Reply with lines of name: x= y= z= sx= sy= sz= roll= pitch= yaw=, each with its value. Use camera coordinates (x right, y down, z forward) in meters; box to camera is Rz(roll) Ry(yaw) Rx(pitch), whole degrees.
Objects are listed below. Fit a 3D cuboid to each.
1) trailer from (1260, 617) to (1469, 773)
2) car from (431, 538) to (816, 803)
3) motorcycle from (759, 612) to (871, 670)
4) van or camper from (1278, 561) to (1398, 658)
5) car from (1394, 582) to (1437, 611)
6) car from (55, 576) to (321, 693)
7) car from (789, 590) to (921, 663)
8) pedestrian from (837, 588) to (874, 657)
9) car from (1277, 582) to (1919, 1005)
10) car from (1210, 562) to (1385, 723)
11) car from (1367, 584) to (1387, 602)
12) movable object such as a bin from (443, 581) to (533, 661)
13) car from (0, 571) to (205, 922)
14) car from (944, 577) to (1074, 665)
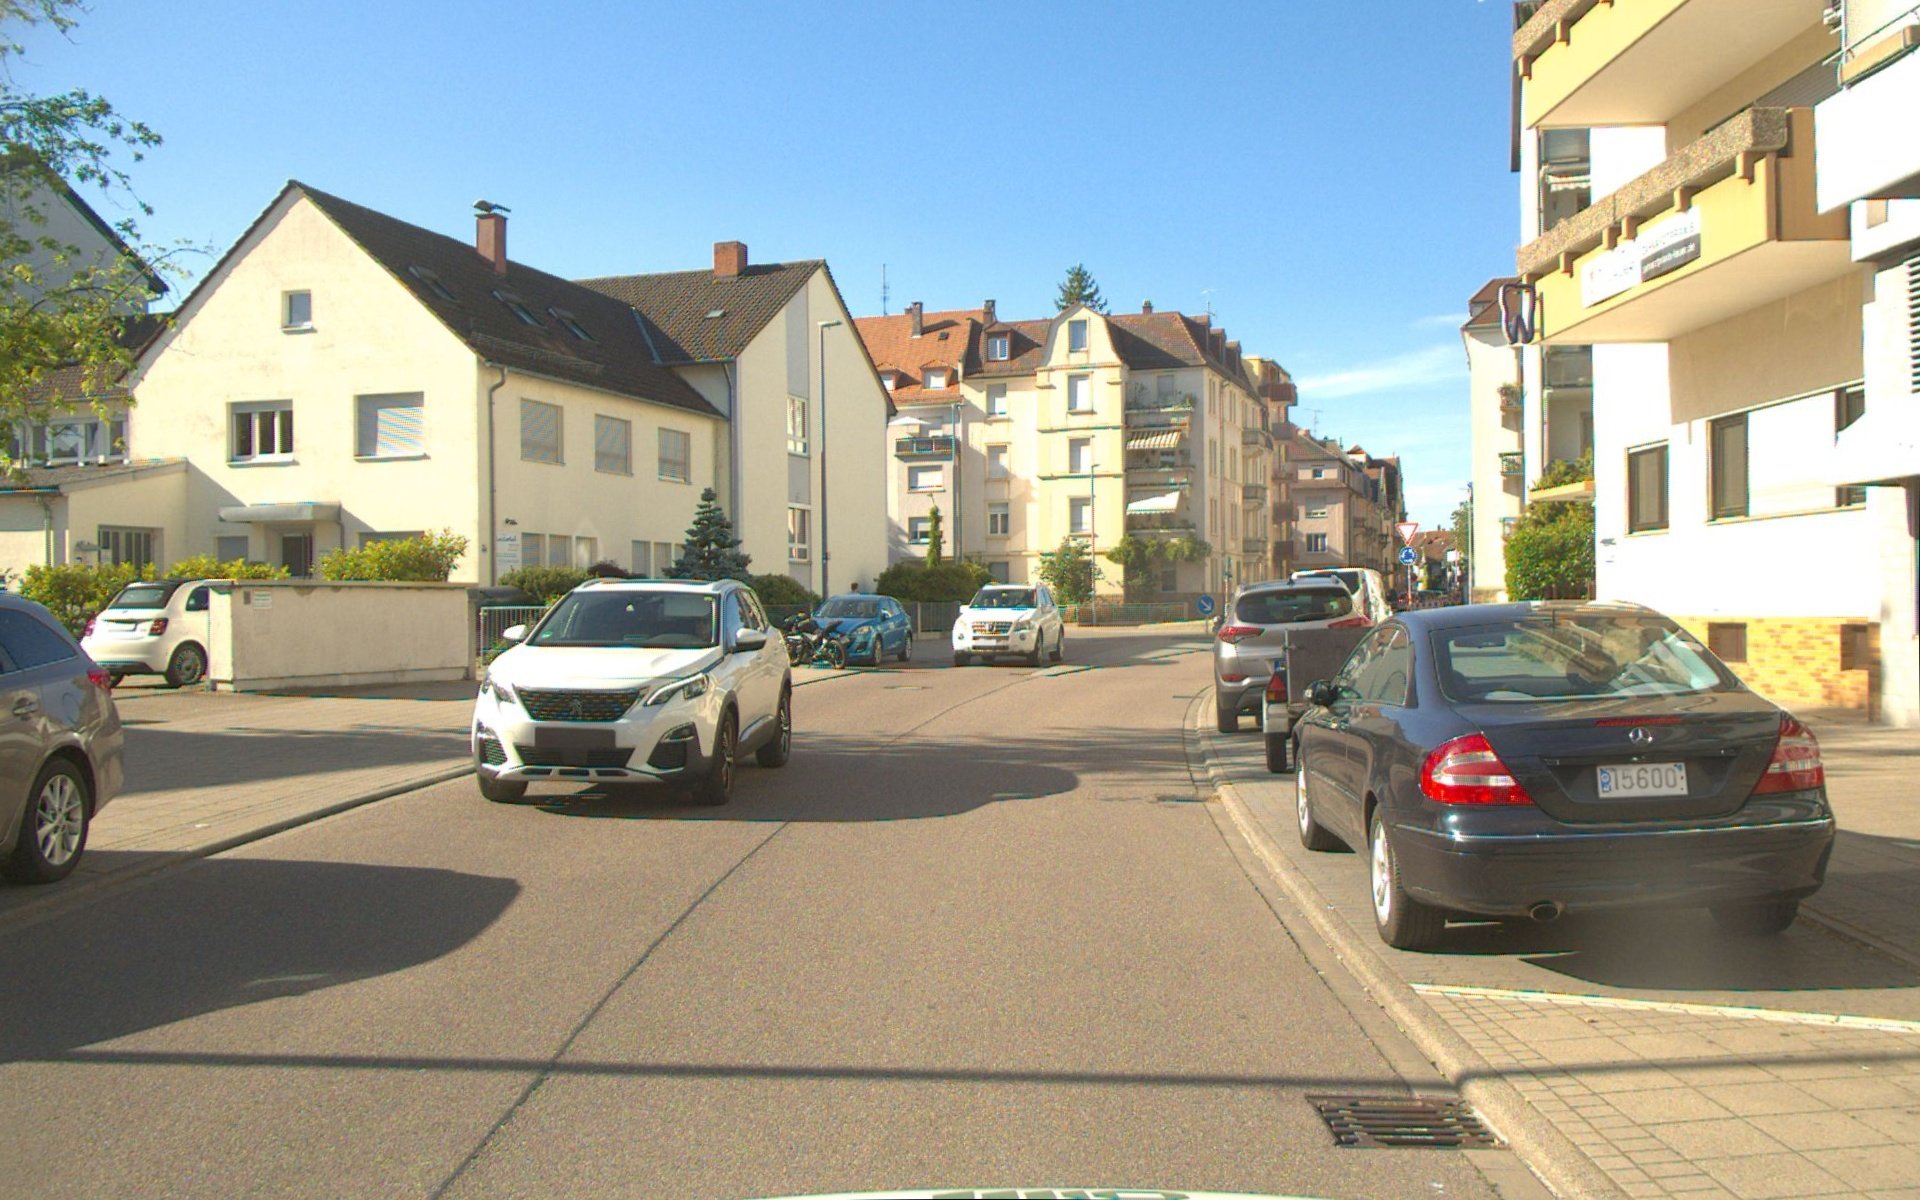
trailer: x=3.420 y=0.764 z=14.374 sx=1.568 sy=1.199 sz=2.945 roll=-1 pitch=-1 yaw=11
car: x=-2.447 y=0.562 z=13.223 sx=1.879 sy=1.755 sz=4.338 roll=-1 pitch=-2 yaw=4
motorcycle: x=-2.925 y=0.816 z=33.362 sx=2.016 sy=1.037 sz=0.947 roll=3 pitch=2 yaw=24
van or camper: x=8.737 y=0.194 z=37.895 sx=1.979 sy=1.981 sz=4.704 roll=-3 pitch=-1 yaw=21
car: x=30.459 y=-0.269 z=110.507 sx=2.381 sy=1.843 sz=4.724 roll=-1 pitch=0 yaw=20
car: x=-11.210 y=0.544 z=24.231 sx=1.763 sy=1.583 sz=3.188 roll=-2 pitch=-3 yaw=22
car: x=-2.228 y=0.532 z=36.295 sx=1.759 sy=1.499 sz=4.334 roll=1 pitch=0 yaw=12
pedestrian: x=-2.700 y=0.591 z=42.699 sx=0.668 sy=1.733 sz=0.824 roll=-1 pitch=-3 yaw=20
car: x=2.804 y=0.713 z=8.350 sx=1.929 sy=1.476 sz=5.006 roll=-1 pitch=-1 yaw=6
car: x=3.908 y=0.542 z=19.767 sx=1.778 sy=1.682 sz=4.563 roll=-1 pitch=-2 yaw=8
car: x=41.939 y=-0.713 z=166.199 sx=1.600 sy=1.685 sz=3.672 roll=-1 pitch=0 yaw=19
movable object such as a bin: x=-9.273 y=0.435 z=32.554 sx=1.255 sy=1.516 sz=1.228 roll=-1 pitch=-3 yaw=15
car: x=-5.234 y=0.659 z=7.025 sx=1.953 sy=1.561 sz=4.916 roll=0 pitch=0 yaw=-2
car: x=1.177 y=0.439 z=37.025 sx=1.947 sy=1.816 sz=4.523 roll=-1 pitch=0 yaw=14
